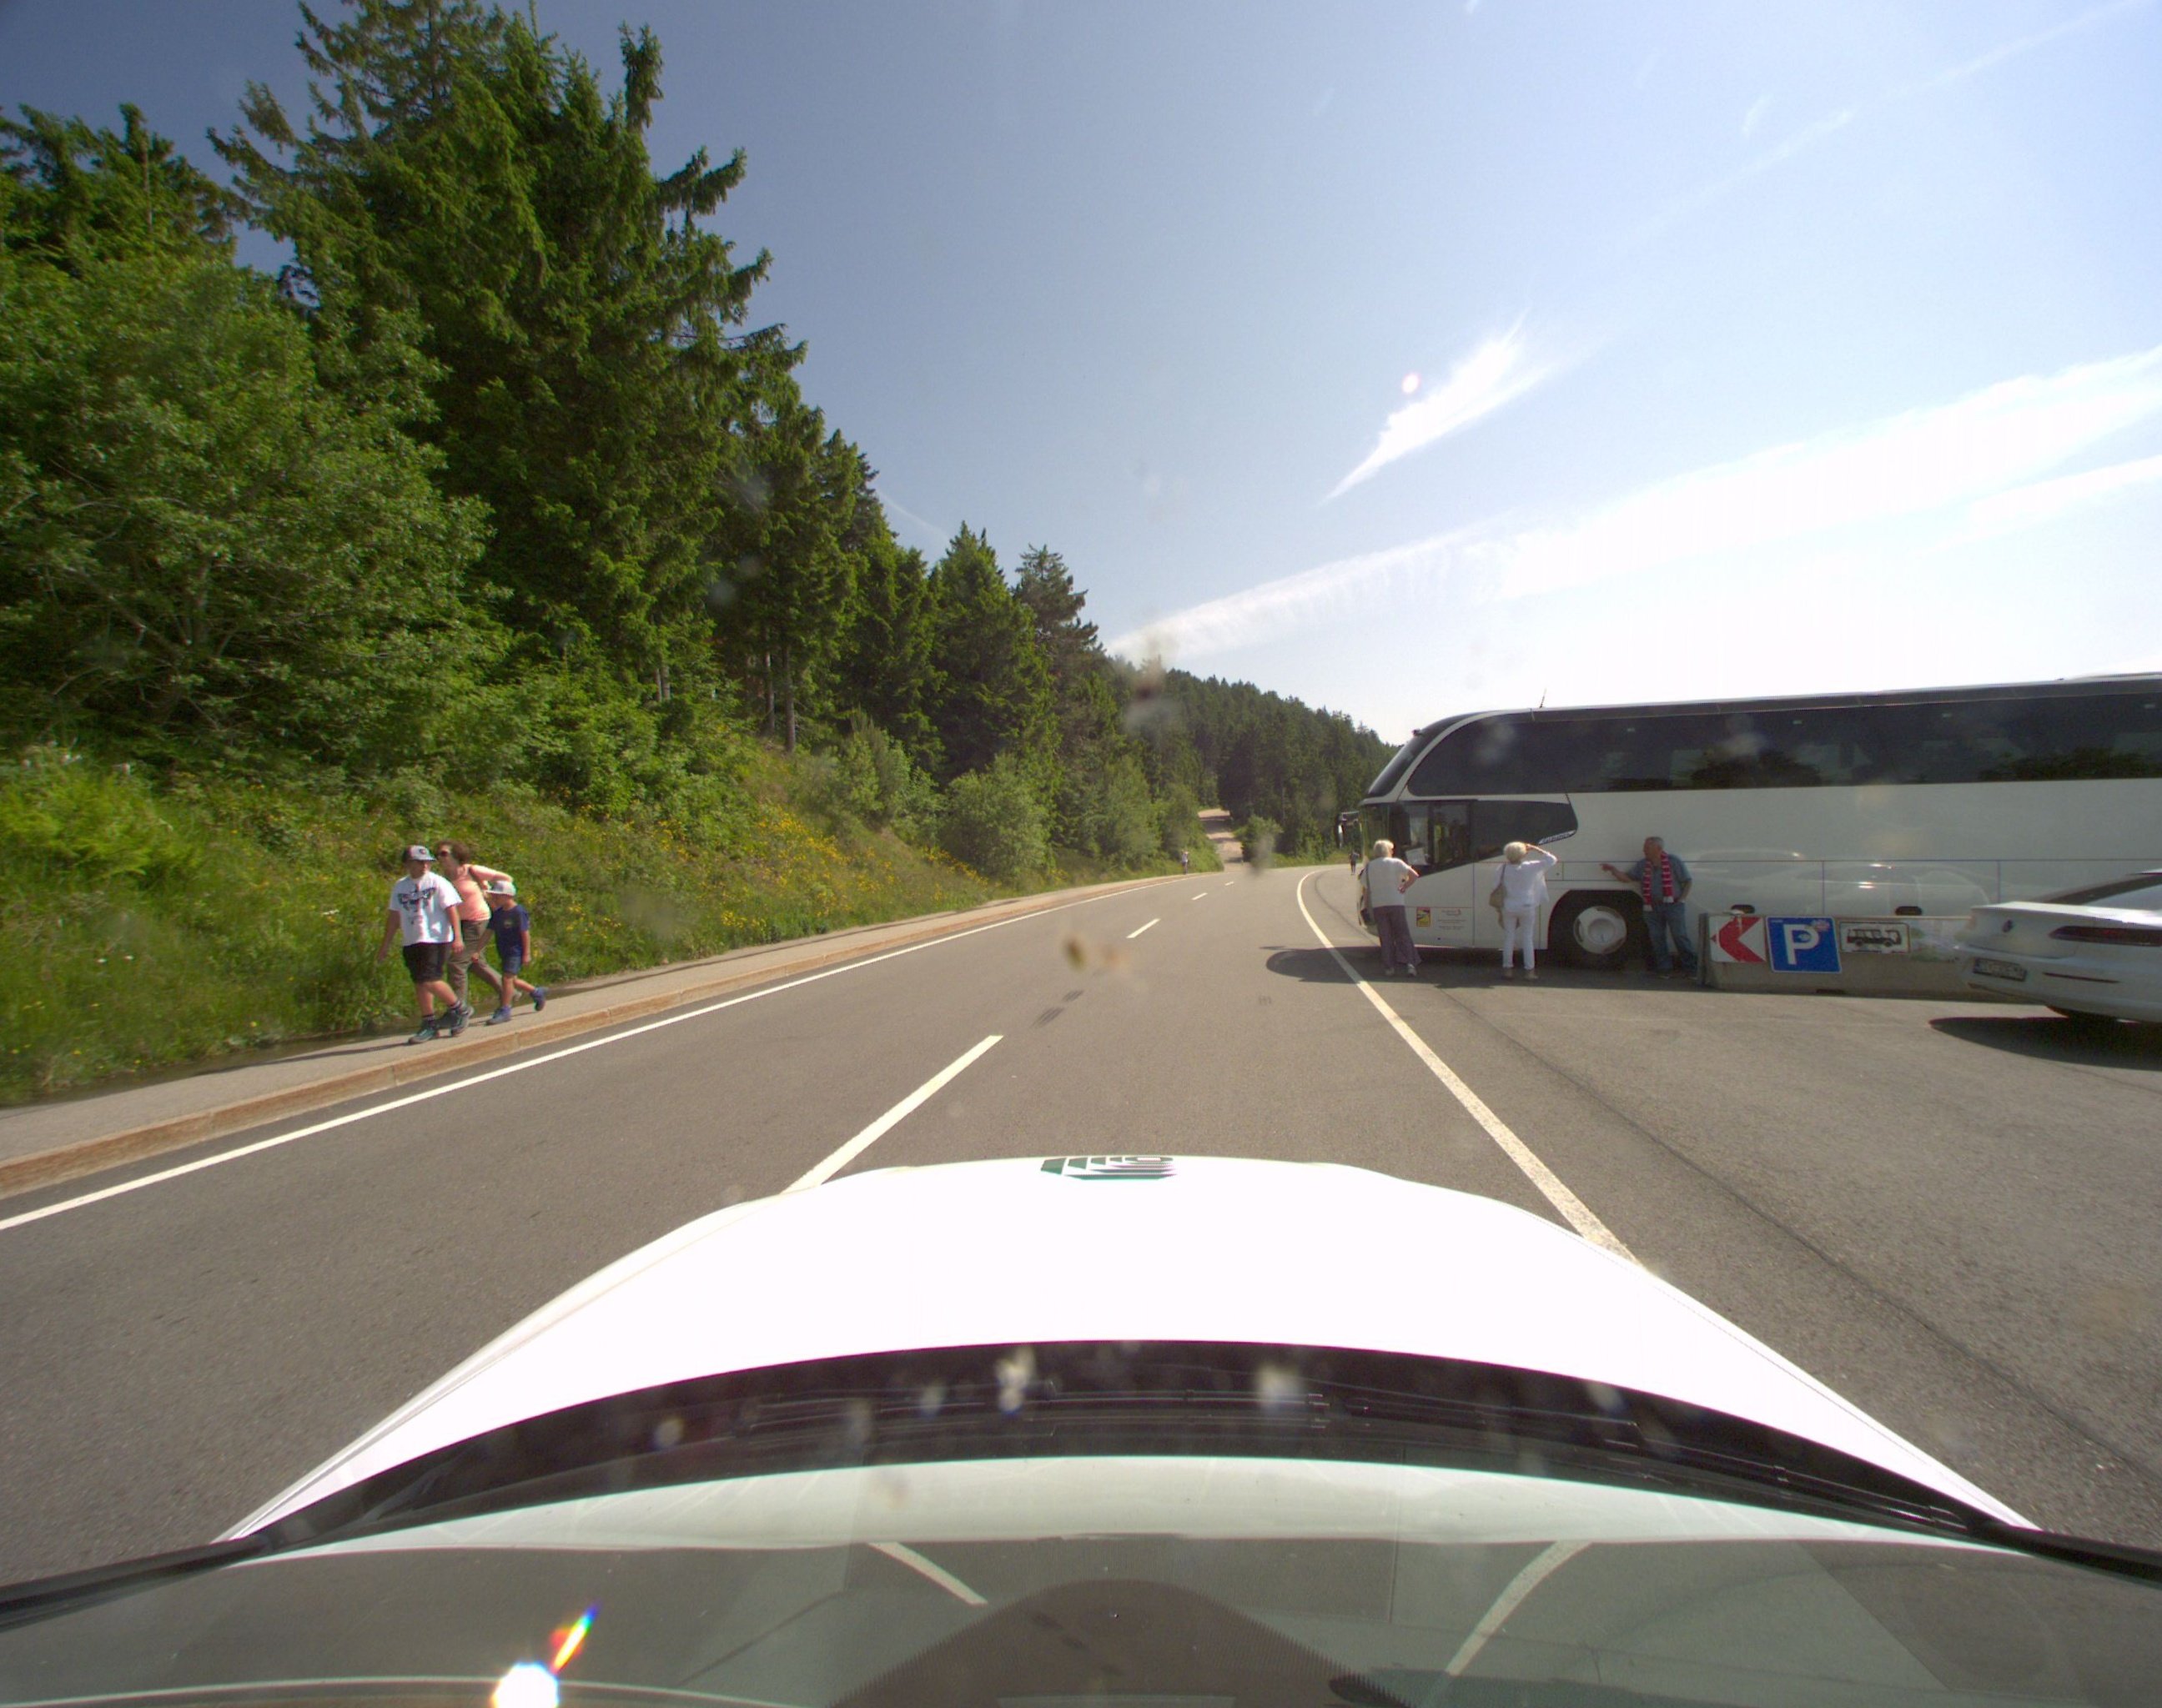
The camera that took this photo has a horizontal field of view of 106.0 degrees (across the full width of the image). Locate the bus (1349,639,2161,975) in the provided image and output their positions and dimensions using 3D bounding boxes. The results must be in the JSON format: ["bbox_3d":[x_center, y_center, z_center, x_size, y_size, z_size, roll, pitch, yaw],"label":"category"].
[{"bbox_3d":[10.226,-0.475,10.500,12.747,3.577,2.851,-1,0,16],"label":"bus"}]

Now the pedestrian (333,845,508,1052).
[{"bbox_3d":[-5.236,0.705,6.509,0.577,1.537,0.882,-2,0,9],"label":"pedestrian"}]

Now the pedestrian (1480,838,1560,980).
[{"bbox_3d":[5.210,0.621,9.649,0.638,1.596,0.749,-2,0,41],"label":"pedestrian"}]

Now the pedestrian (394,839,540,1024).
[{"bbox_3d":[-5.763,0.687,7.688,0.572,1.643,0.897,-2,0,12],"label":"pedestrian"}]

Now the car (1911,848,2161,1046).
[{"bbox_3d":[9.520,0.655,6.056,4.387,1.396,1.727,0,0,19],"label":"car"}]

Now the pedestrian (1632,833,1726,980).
[{"bbox_3d":[6.971,0.589,9.524,0.639,1.643,0.748,-2,0,17],"label":"pedestrian"}]

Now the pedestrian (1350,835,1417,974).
[{"bbox_3d":[3.755,0.603,10.116,0.701,1.643,0.748,-2,0,20],"label":"pedestrian"}]

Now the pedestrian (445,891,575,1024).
[{"bbox_3d":[-5.176,0.913,7.416,0.565,1.102,0.747,-2,0,12],"label":"pedestrian"}]

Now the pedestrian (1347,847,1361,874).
[{"bbox_3d":[18.667,0.442,55.615,0.746,1.760,0.780,-1,0,30],"label":"pedestrian"}]

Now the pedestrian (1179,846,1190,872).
[{"bbox_3d":[6.946,0.351,54.668,0.678,1.746,0.828,0,0,11],"label":"pedestrian"}]
